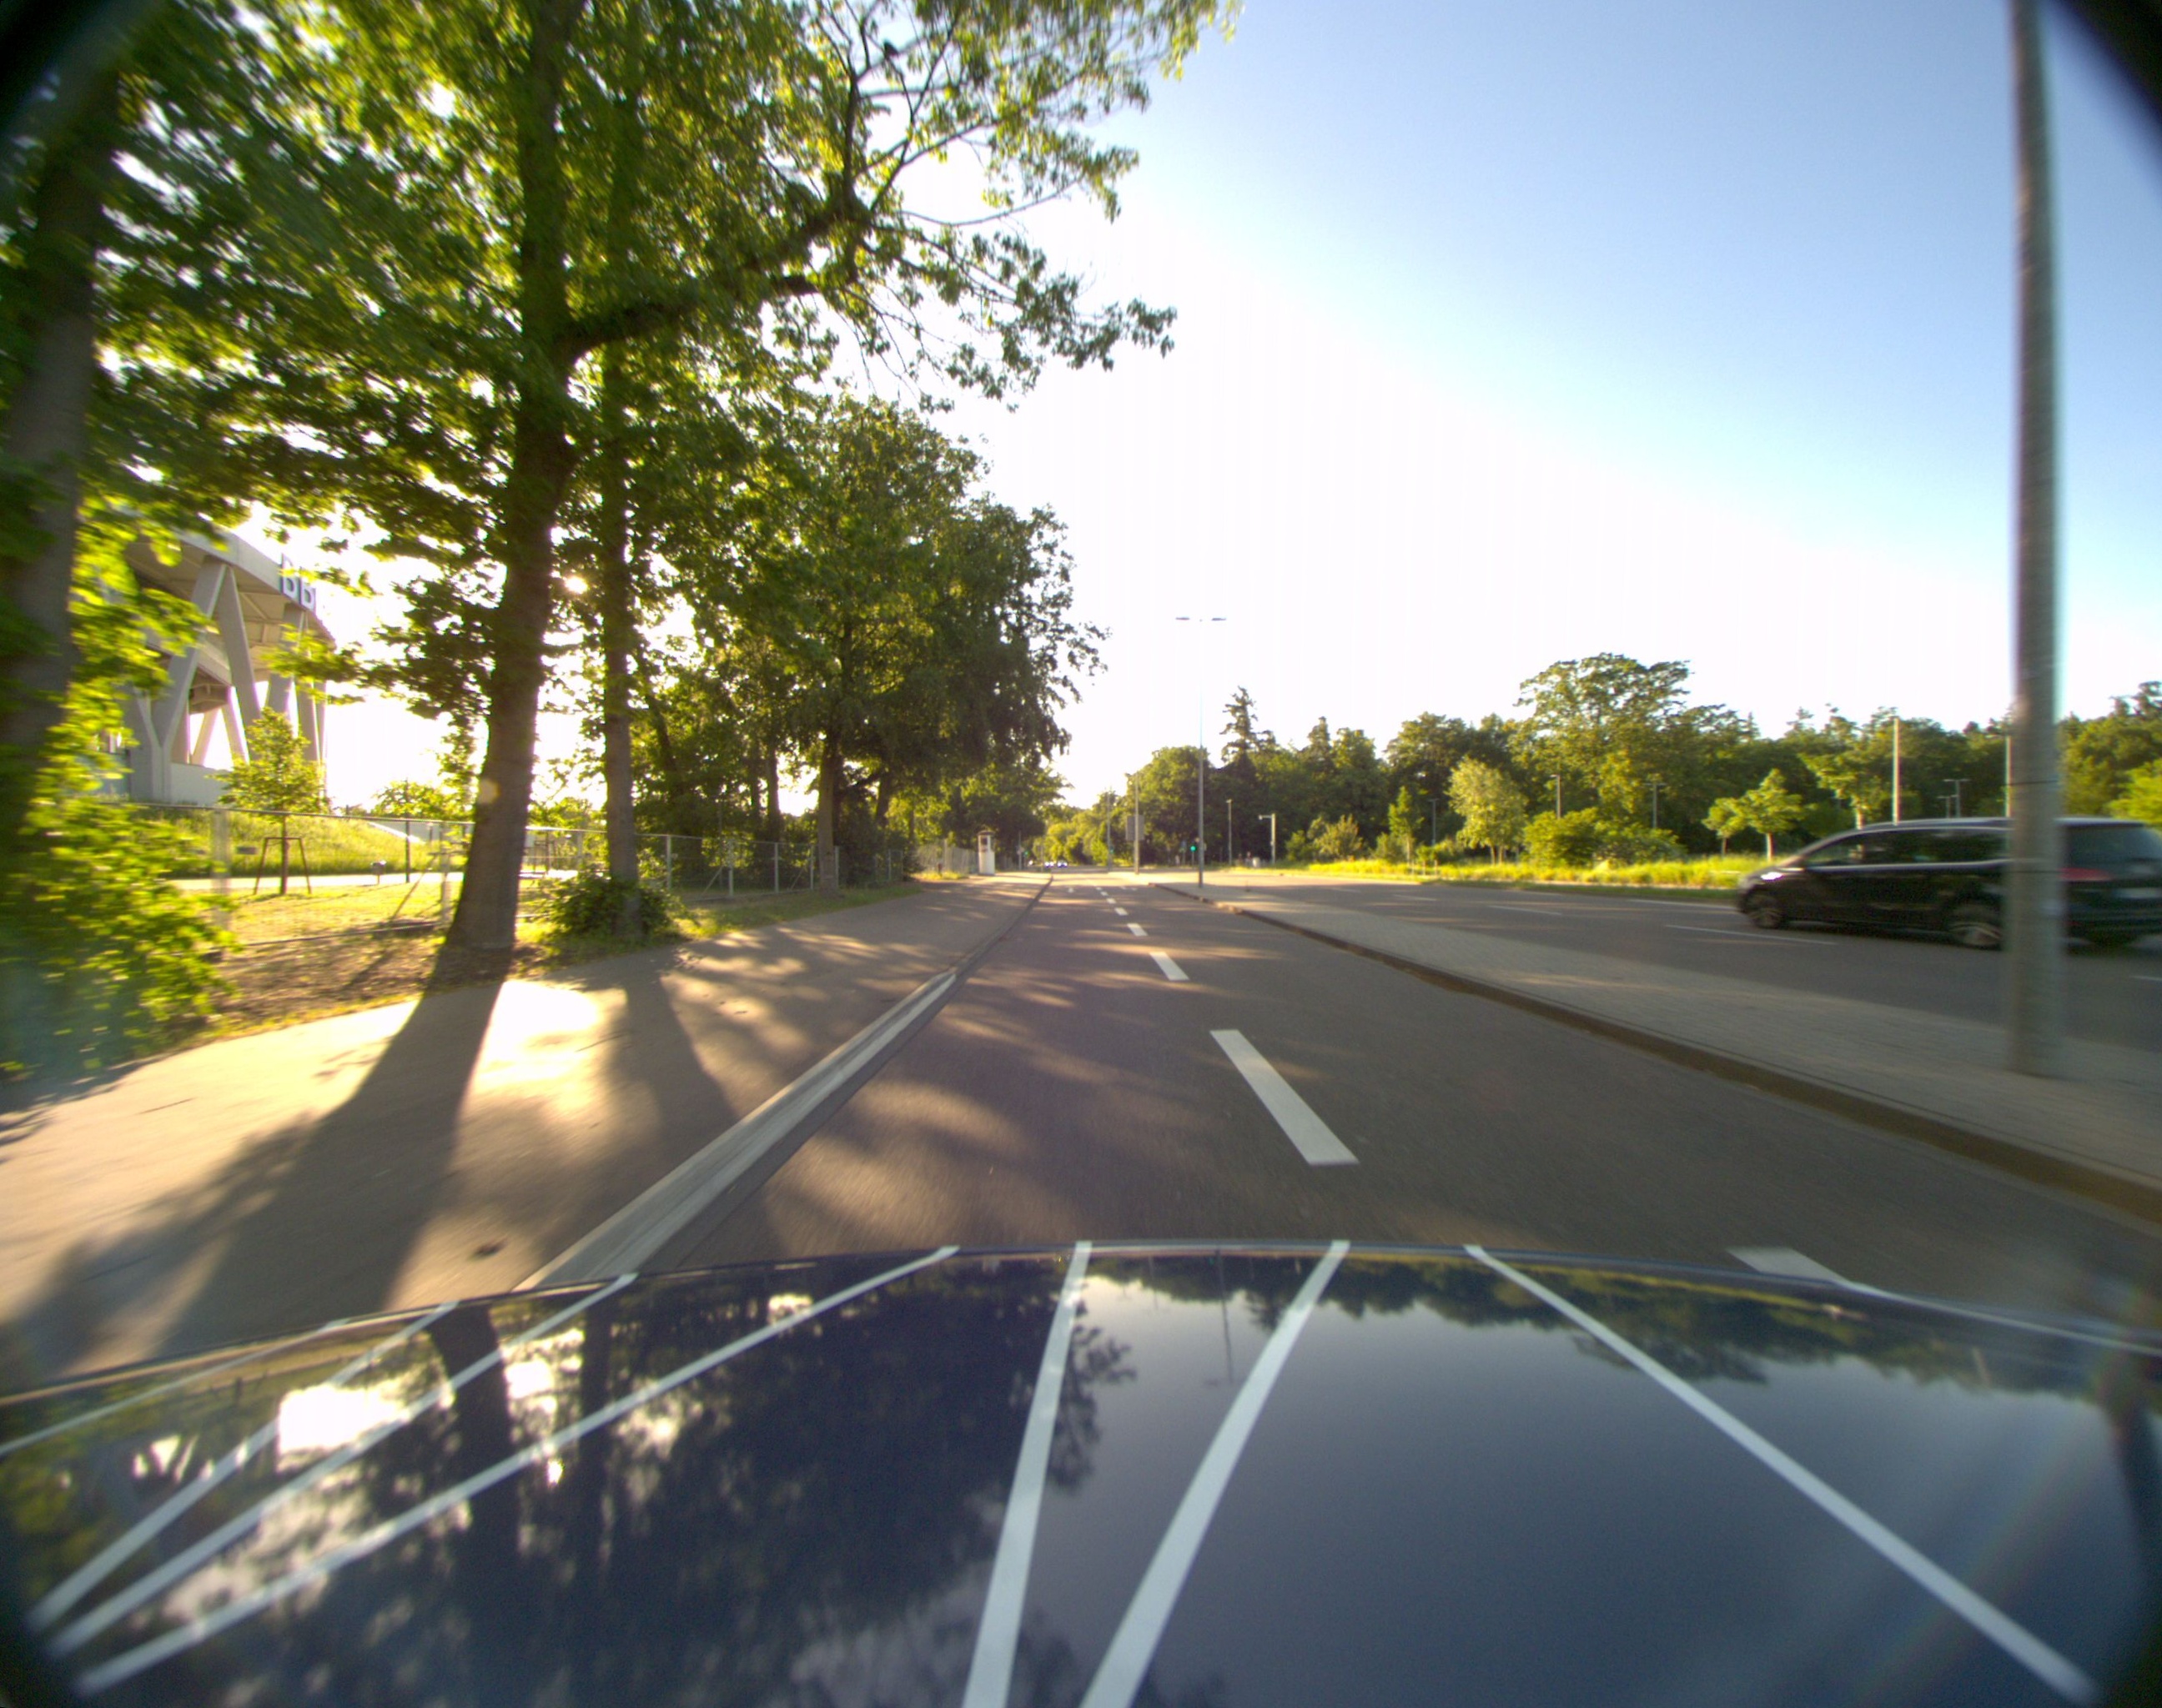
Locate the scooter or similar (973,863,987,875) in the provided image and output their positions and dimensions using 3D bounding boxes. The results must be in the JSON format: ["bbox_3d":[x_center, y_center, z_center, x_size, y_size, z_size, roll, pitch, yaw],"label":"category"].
[{"bbox_3d":[-10.180,1.520,76.583,1.303,1.230,0.334,0,0,-36],"label":"scooter or similar"}]

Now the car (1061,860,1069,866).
[{"bbox_3d":[-3.837,2.053,182.717,1.841,1.394,3.999,-2,0,-3],"label":"car"}]

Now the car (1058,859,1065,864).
[{"bbox_3d":[-6.129,2.320,236.339,1.619,1.346,4.007,0,-1,-8],"label":"car"}]

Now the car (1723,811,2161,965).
[{"bbox_3d":[12.088,0.391,10.860,1.787,1.682,4.702,-2,-1,0],"label":"car"}]

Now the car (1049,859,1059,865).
[{"bbox_3d":[-7.614,2.231,211.865,1.843,1.394,4.987,-2,0,-12],"label":"car"}]
